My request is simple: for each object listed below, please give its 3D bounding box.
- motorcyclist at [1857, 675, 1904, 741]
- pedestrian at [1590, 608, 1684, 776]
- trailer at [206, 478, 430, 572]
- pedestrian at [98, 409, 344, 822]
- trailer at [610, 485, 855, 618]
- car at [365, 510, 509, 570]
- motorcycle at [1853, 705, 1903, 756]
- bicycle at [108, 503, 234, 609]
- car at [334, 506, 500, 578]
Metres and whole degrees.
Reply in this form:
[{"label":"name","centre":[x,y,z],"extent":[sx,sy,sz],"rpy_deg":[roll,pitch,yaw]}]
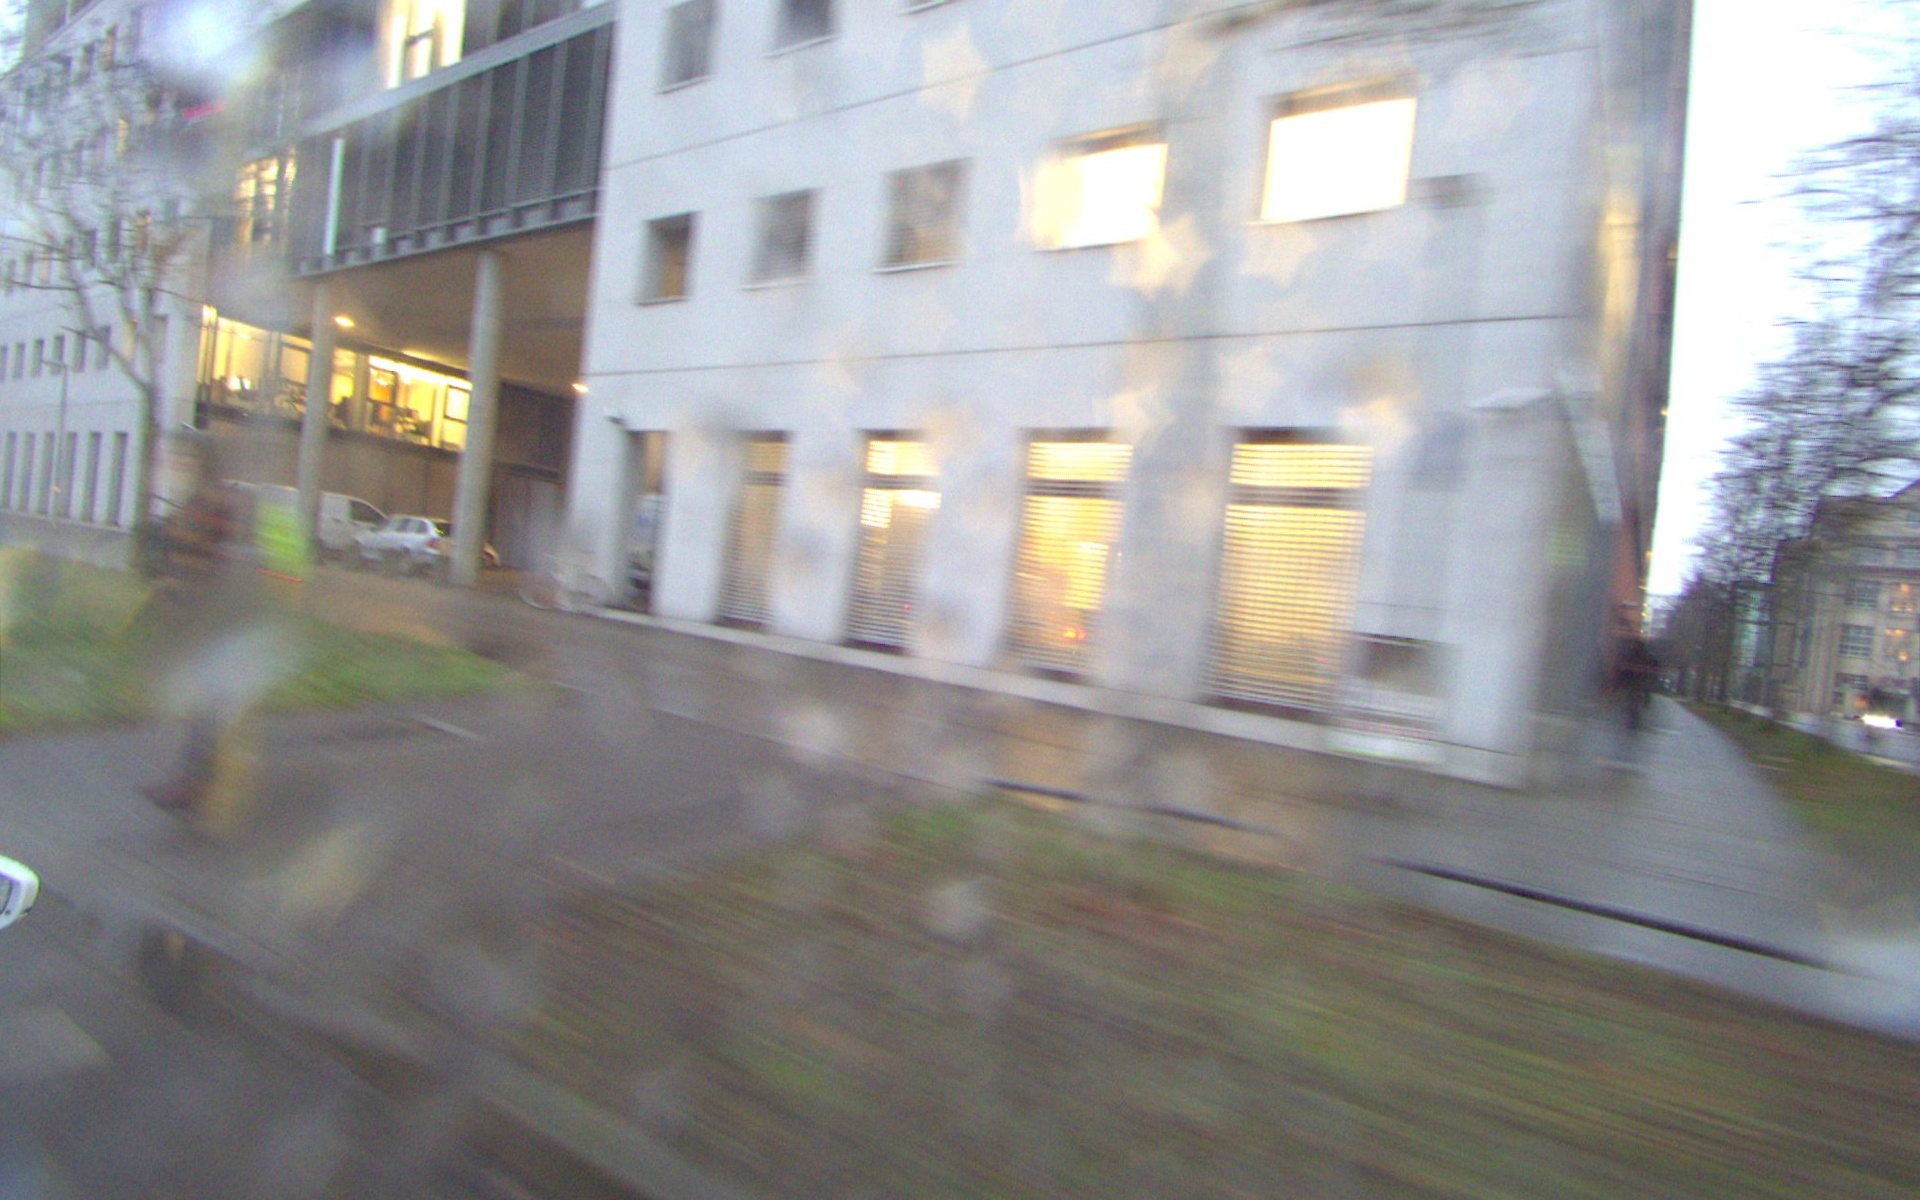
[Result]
[{"label":"motorcyclist","centre":[21.957,2.566,24.000],"extent":[0.600,1.471,0.899],"rpy_deg":[6,-1,35]},{"label":"pedestrian","centre":[7.593,1.024,11.319],"extent":[0.691,1.756,0.738],"rpy_deg":[6,-1,32]},{"label":"trailer","centre":[-18.785,-2.148,29.643],"extent":[2.099,1.935,5.062],"rpy_deg":[9,1,40]},{"label":"pedestrian","centre":[-3.630,0.053,4.959],"extent":[0.688,1.834,0.770],"rpy_deg":[5,4,31]},{"label":"trailer","centre":[-5.533,-1.084,25.629],"extent":[2.173,2.614,6.264],"rpy_deg":[7,1,31]},{"label":"car","centre":[-17.897,-2.020,34.552],"extent":[1.634,1.537,3.979],"rpy_deg":[8,1,41]},{"label":"motorcycle","centre":[22.016,3.120,24.146],"extent":[0.615,1.112,1.440],"rpy_deg":[6,-2,36]},{"label":"bicycle","centre":[-9.555,-0.553,12.151],"extent":[2.132,1.130,0.550],"rpy_deg":[5,2,35]},{"label":"car","centre":[-13.807,-1.487,25.507],"extent":[4.457,1.387,1.634],"rpy_deg":[6,-2,33]}]
